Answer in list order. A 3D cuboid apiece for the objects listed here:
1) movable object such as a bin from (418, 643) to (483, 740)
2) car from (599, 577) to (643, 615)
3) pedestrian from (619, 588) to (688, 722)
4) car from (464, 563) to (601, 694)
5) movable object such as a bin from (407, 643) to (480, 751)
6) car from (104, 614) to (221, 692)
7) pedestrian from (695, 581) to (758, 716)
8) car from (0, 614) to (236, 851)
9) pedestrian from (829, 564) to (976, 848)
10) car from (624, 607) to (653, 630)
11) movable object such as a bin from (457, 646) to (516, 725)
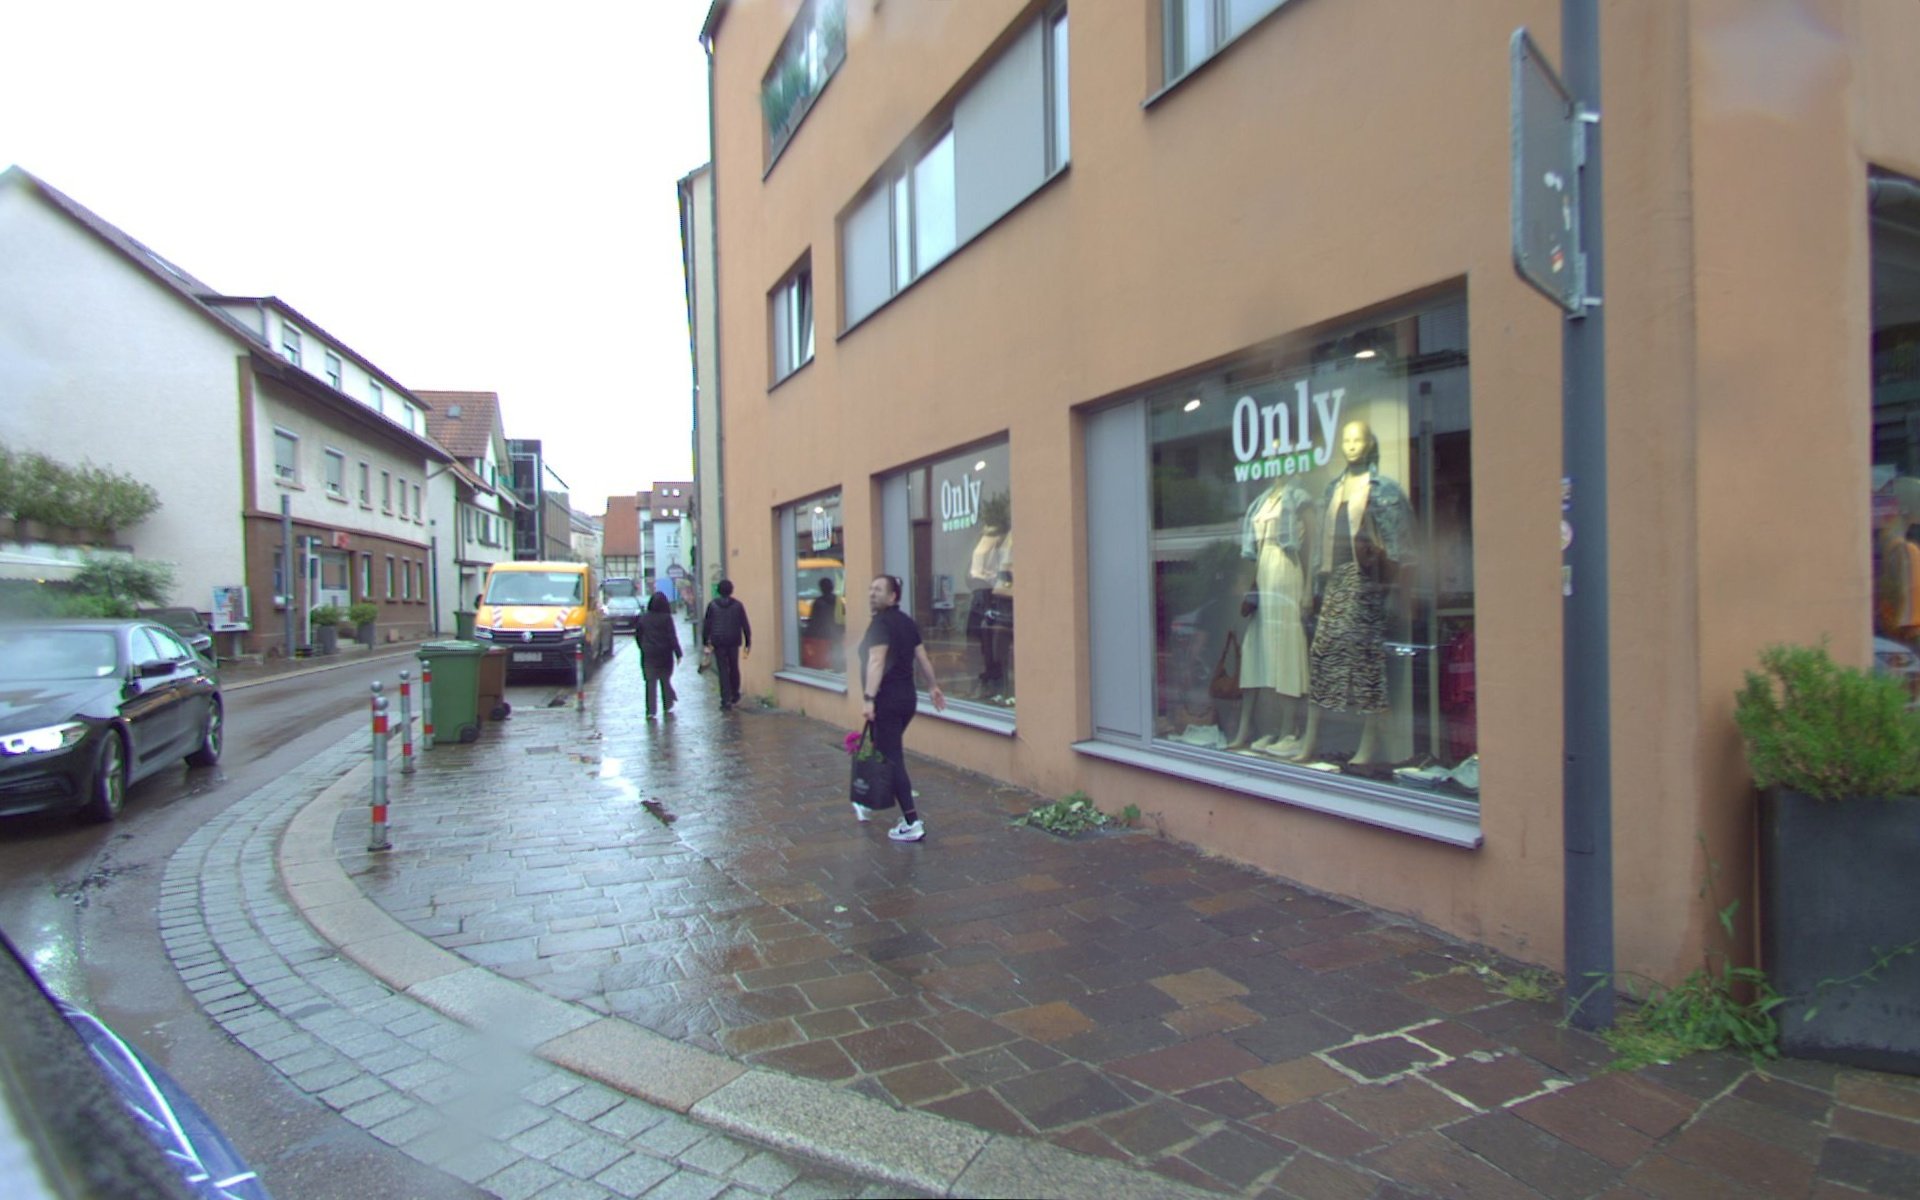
[{"bbox_3d":[-5.937,1.051,11.820,0.647,1.044,0.612,-1,0,-25],"label":"movable object such as a bin"},{"bbox_3d":[-27.978,-0.286,83.868,2.666,2.895,8.868,-2,-1,-14],"label":"car"},{"bbox_3d":[-3.999,0.692,13.180,0.705,1.652,0.748,-3,1,-23],"label":"pedestrian"},{"bbox_3d":[-8.479,0.487,20.558,1.966,2.256,5.879,-1,0,-17],"label":"car"},{"bbox_3d":[-5.460,1.006,10.726,0.647,1.044,0.612,-1,0,-25],"label":"movable object such as a bin"},{"bbox_3d":[-16.193,1.002,20.610,1.711,1.367,3.944,-1,0,-38],"label":"car"},{"bbox_3d":[-3.136,0.628,13.585,0.613,1.725,0.812,-3,1,-23],"label":"pedestrian"},{"bbox_3d":[-7.403,0.863,8.004,1.915,1.413,4.434,-1,0,-25],"label":"car"},{"bbox_3d":[-0.368,0.608,6.251,0.650,1.622,0.686,-1,0,-26],"label":"pedestrian"},{"bbox_3d":[-21.179,1.200,66.745,1.605,1.377,3.498,-2,0,-15],"label":"car"},{"bbox_3d":[-6.070,1.086,12.991,0.573,0.934,0.483,-3,0,-15],"label":"movable object such as a bin"}]
